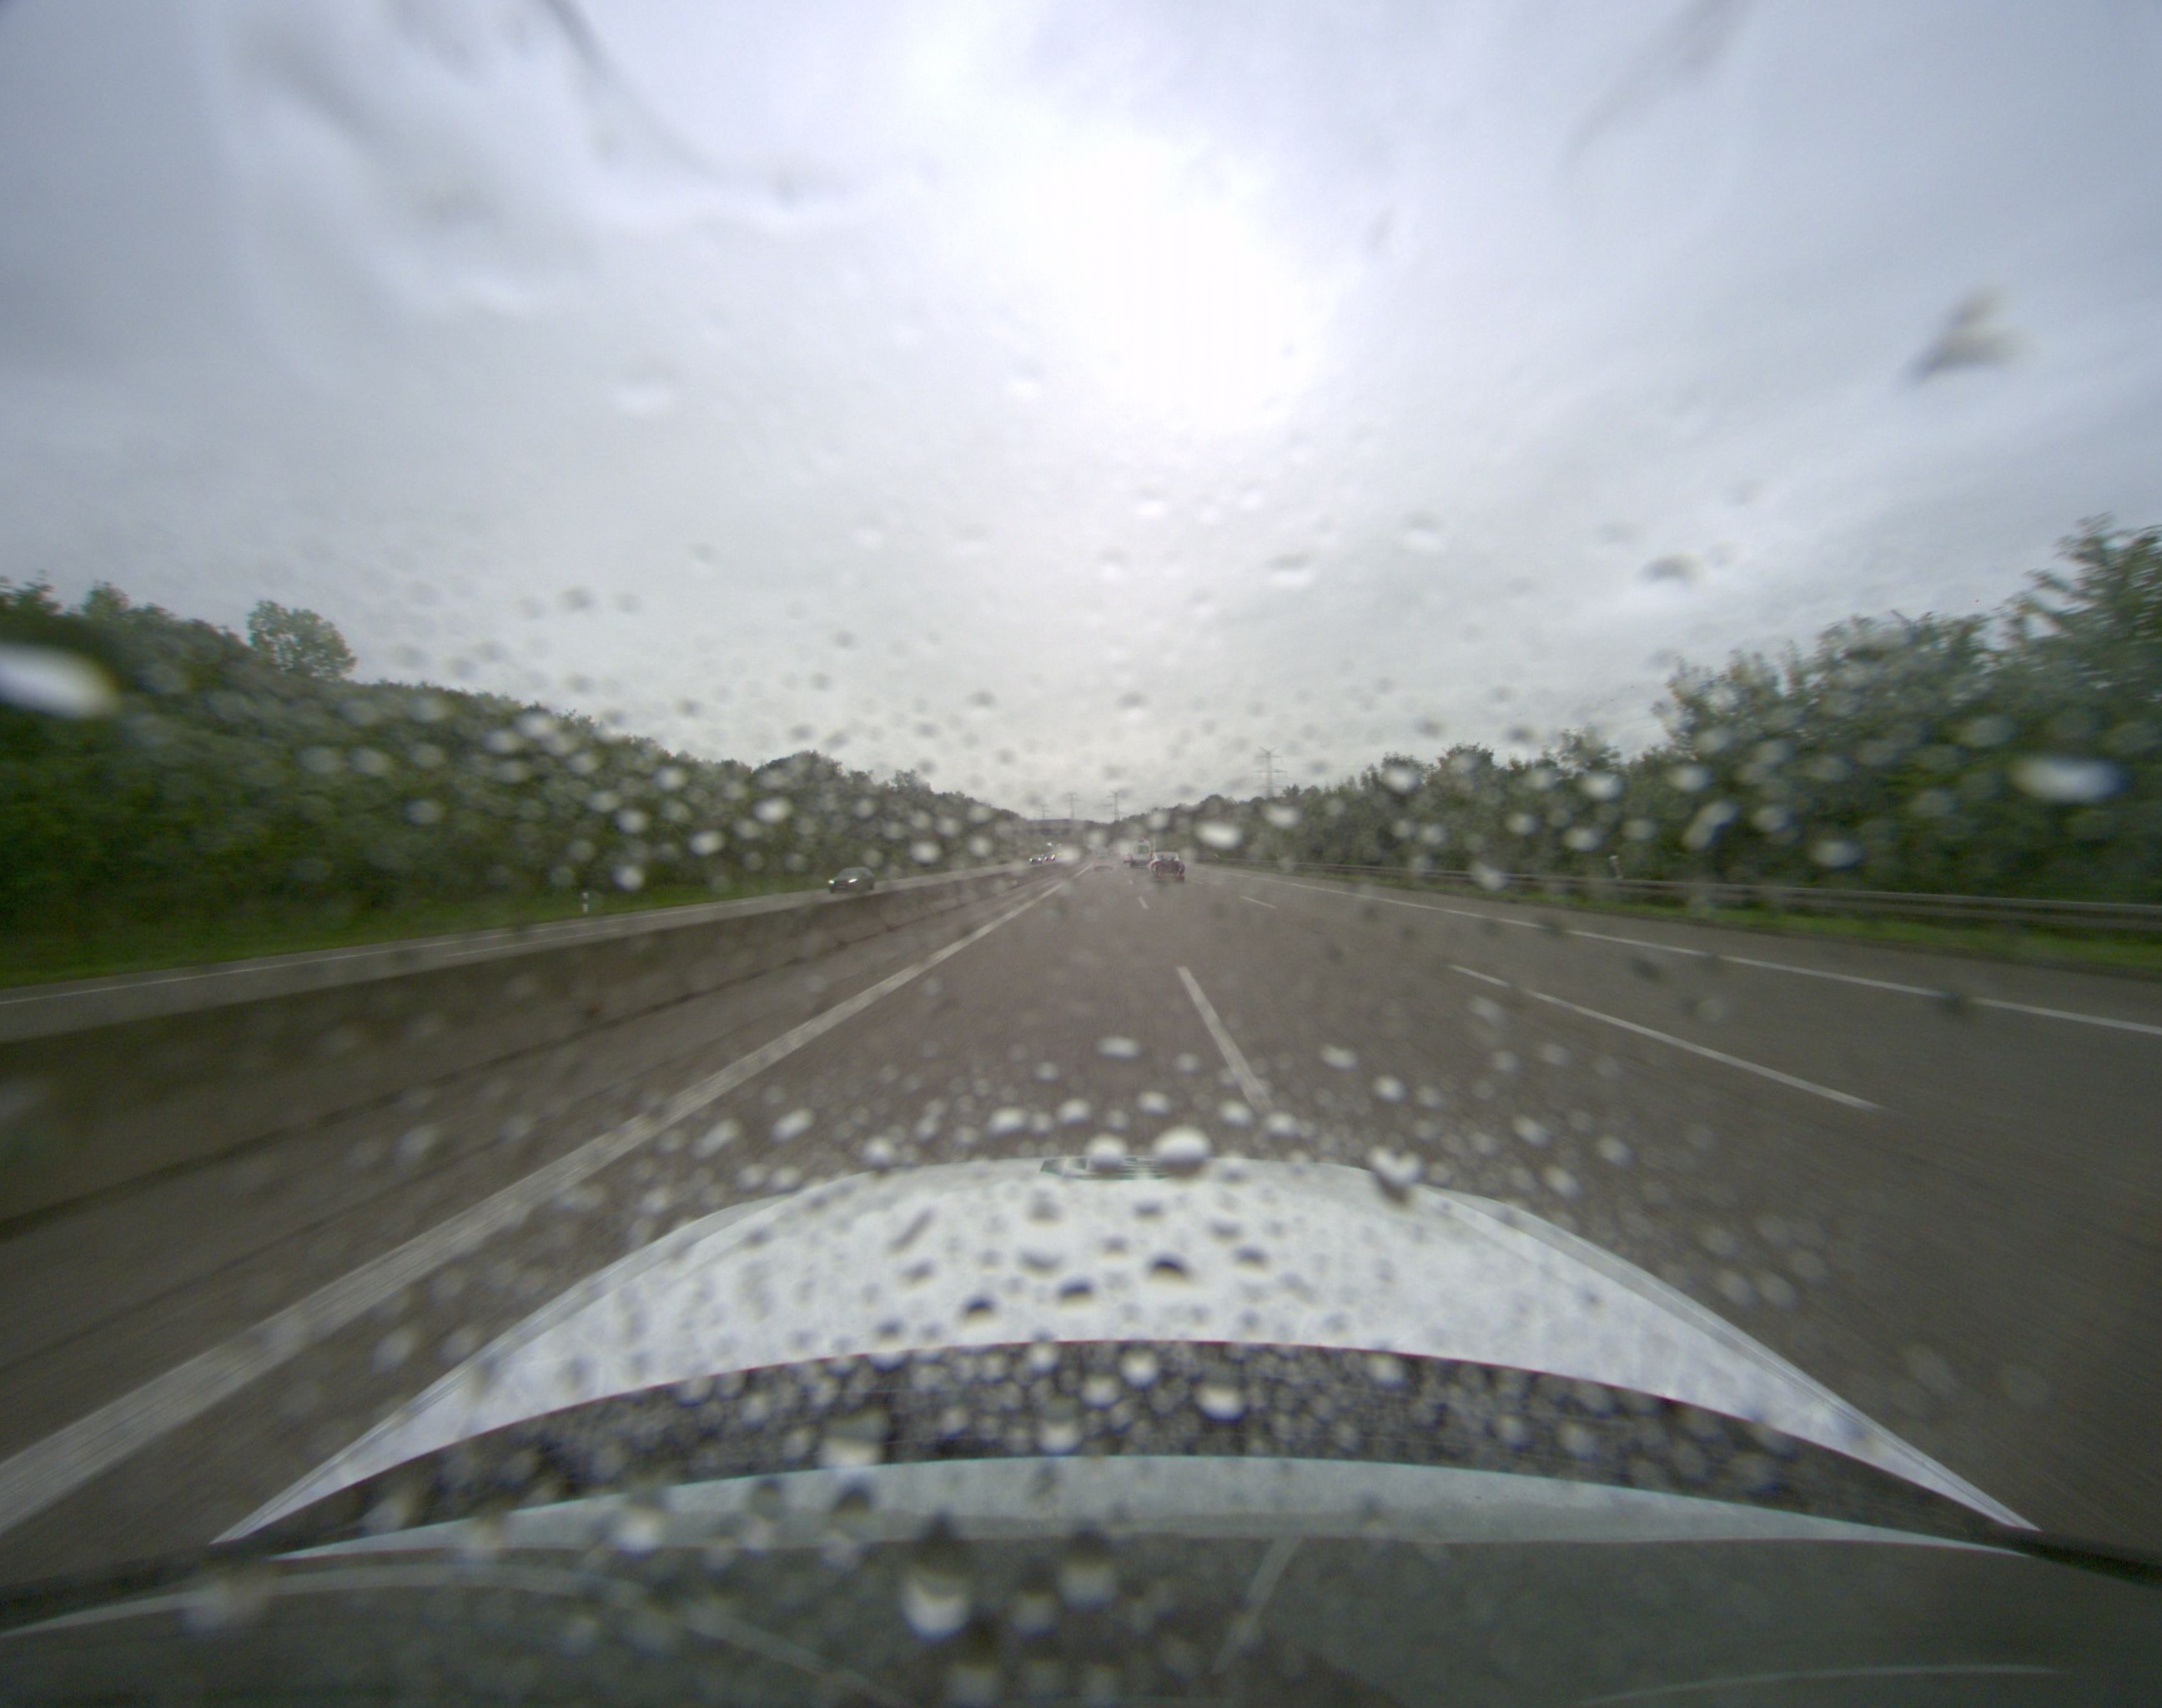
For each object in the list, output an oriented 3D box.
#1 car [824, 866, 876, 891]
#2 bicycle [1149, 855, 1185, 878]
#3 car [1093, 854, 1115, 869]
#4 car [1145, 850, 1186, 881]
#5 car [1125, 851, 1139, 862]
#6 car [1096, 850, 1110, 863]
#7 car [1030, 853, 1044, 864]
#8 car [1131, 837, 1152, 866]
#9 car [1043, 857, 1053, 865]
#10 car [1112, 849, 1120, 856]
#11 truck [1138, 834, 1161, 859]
[{"bbox_3d":[-14.326,1.482,50.743,1.792,1.385,4.470,-3,0,2],"label":"car"},{"bbox_3d":[4.385,0.639,41.525,1.747,1.090,0.914,-1,-1,1],"label":"bicycle"},{"bbox_3d":[2.095,0.694,74.989,1.860,1.288,4.001,-3,0,1],"label":"car"},{"bbox_3d":[4.560,0.602,44.469,1.853,1.568,4.965,-1,0,1],"label":"car"},{"bbox_3d":[7.305,0.325,116.650,1.850,1.422,4.002,-1,1,2],"label":"car"},{"bbox_3d":[3.021,0.386,111.035,1.839,1.772,4.001,0,-1,1],"label":"car"},{"bbox_3d":[-7.451,0.707,137.821,1.986,1.688,4.918,-2,0,2],"label":"car"},{"bbox_3d":[6.139,-0.246,82.878,1.985,2.864,4.003,-3,0,3],"label":"car"},{"bbox_3d":[-6.871,1.455,172.002,1.627,1.412,4.371,-3,0,4],"label":"car"},{"bbox_3d":[9.213,-0.358,212.769,1.986,1.574,4.001,-3,0,1],"label":"car"},{"bbox_3d":[12.422,-1.295,149.058,3.588,4.332,13.210,-2,0,3],"label":"truck"}]
